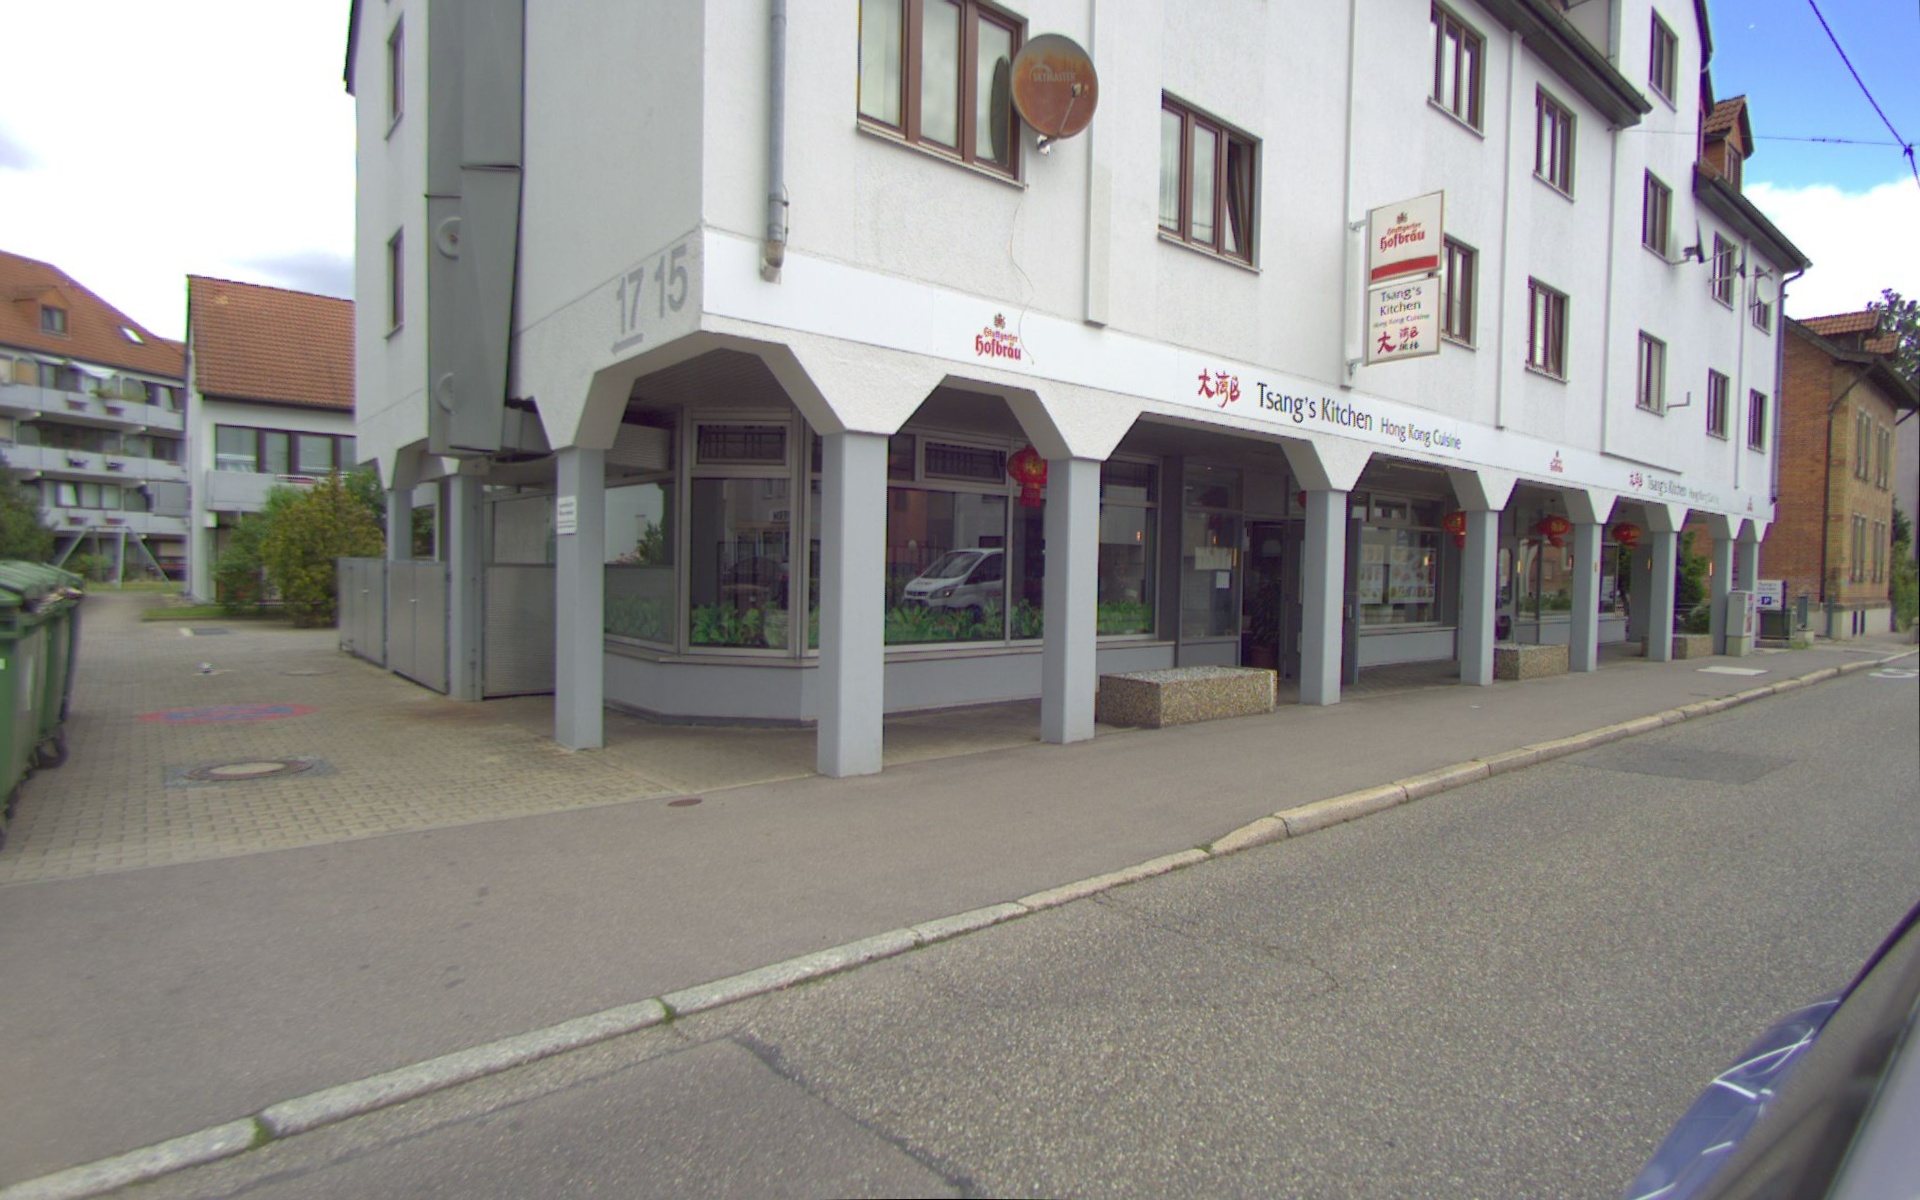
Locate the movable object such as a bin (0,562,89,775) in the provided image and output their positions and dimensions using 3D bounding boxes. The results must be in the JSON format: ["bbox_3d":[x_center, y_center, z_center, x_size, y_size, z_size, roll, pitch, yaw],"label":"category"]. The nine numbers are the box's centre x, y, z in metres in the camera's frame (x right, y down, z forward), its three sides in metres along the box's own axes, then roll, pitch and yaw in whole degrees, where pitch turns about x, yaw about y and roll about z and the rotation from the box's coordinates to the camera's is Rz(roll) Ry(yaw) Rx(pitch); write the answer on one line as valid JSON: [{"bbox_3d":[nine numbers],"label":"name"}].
[{"bbox_3d":[-7.067,0.448,7.187,1.236,1.435,1.213,0,1,-37],"label":"movable object such as a bin"}]

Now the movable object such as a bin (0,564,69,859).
[{"bbox_3d":[-5.419,0.530,5.141,1.236,1.435,1.213,0,1,-37],"label":"movable object such as a bin"}]

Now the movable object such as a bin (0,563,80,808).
[{"bbox_3d":[-6.281,0.485,6.201,1.236,1.435,1.213,0,1,-37],"label":"movable object such as a bin"}]

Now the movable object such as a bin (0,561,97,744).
[{"bbox_3d":[-8.026,0.399,8.390,1.236,1.435,1.213,0,1,-37],"label":"movable object such as a bin"}]

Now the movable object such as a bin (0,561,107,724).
[{"bbox_3d":[-8.778,0.356,9.390,1.236,1.435,1.213,0,1,-37],"label":"movable object such as a bin"}]
